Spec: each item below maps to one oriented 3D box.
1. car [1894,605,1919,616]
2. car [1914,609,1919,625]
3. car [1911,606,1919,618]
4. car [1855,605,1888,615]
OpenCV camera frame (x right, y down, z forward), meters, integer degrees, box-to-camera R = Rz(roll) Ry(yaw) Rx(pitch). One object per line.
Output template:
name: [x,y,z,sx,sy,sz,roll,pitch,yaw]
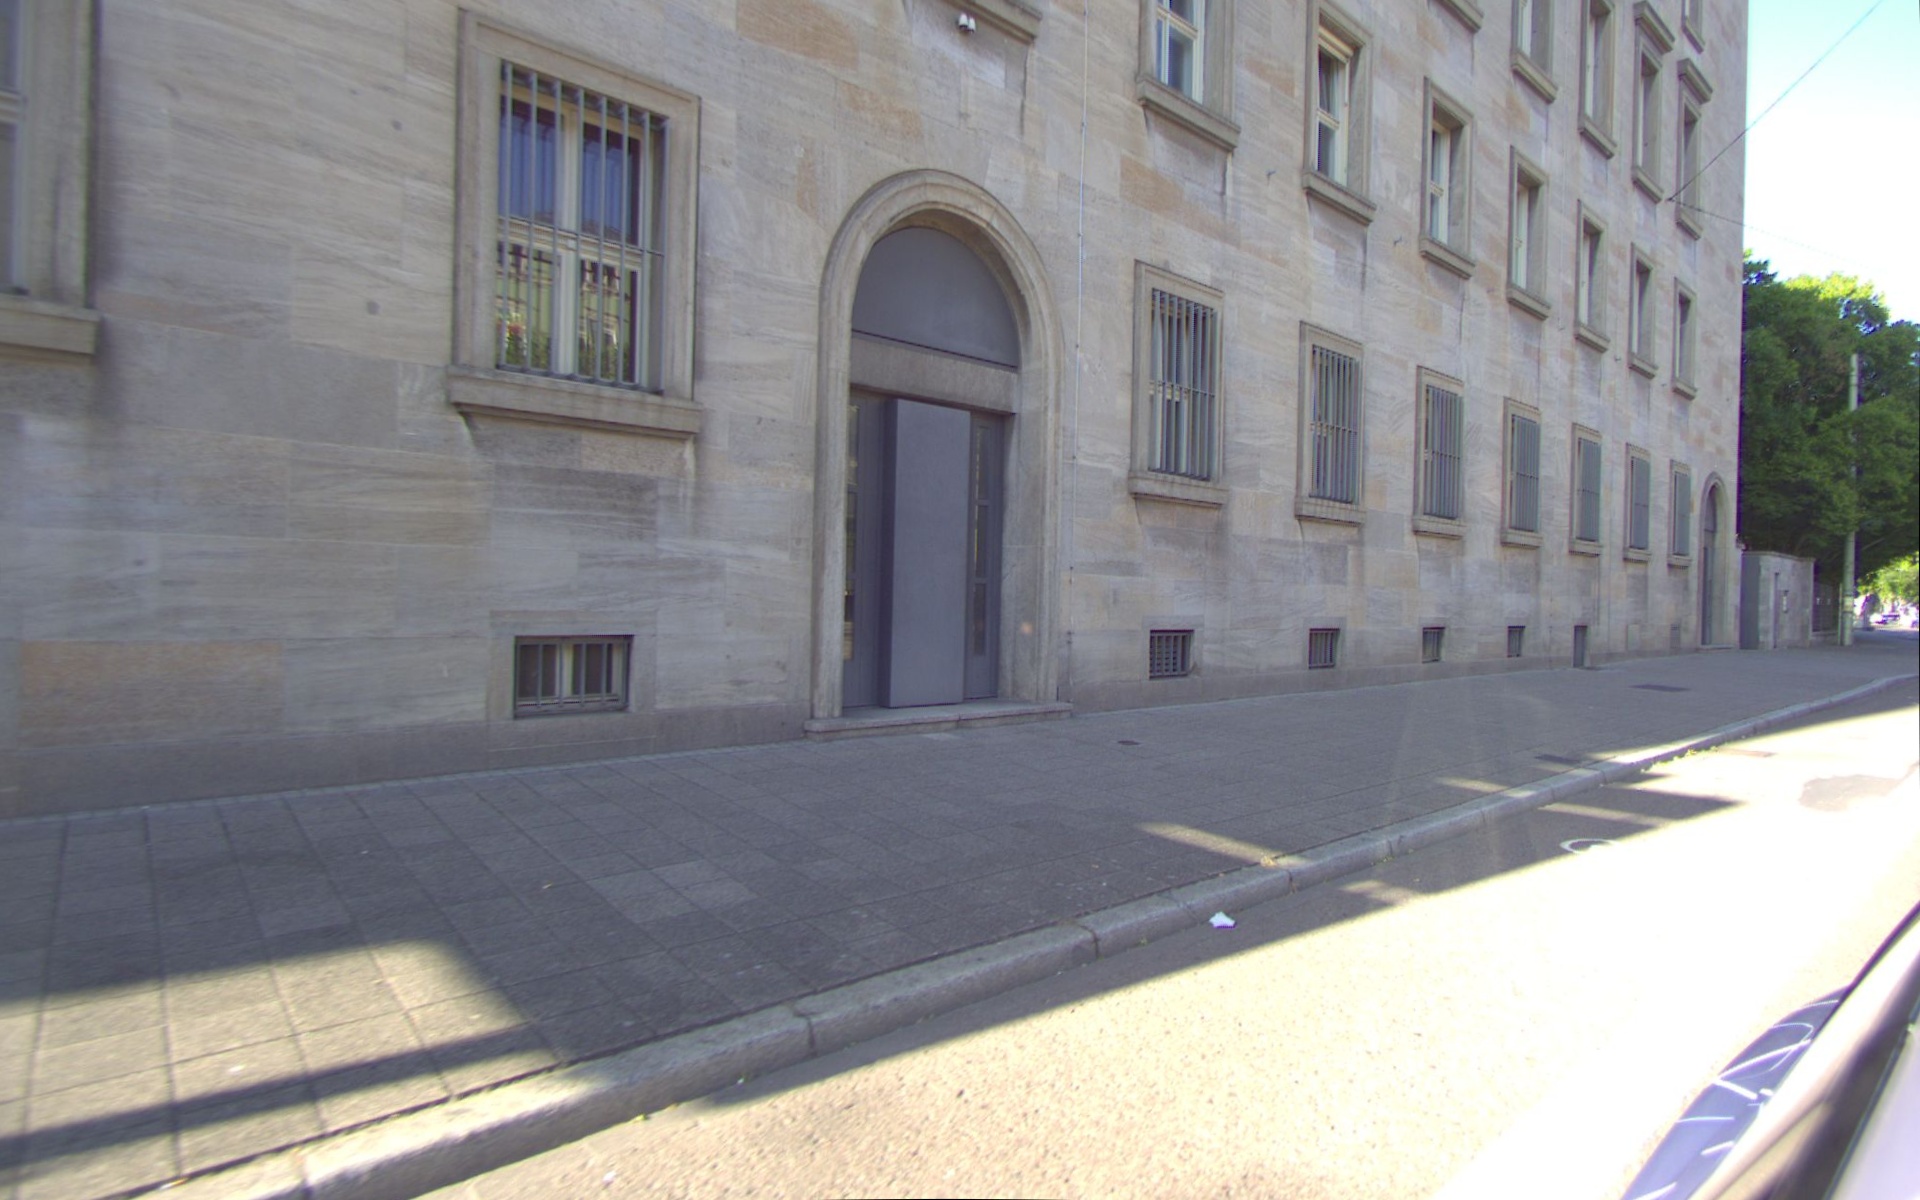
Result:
car: [139.891,1.522,148.545,3.742,1.614,1.654,-2,-1,31]
car: [100.928,1.838,105.077,1.863,1.621,4.376,2,1,32]
car: [130.181,1.605,135.483,3.742,1.614,1.654,-2,-1,31]
car: [146.522,1.685,162.675,3.592,1.520,1.487,-2,-1,31]
